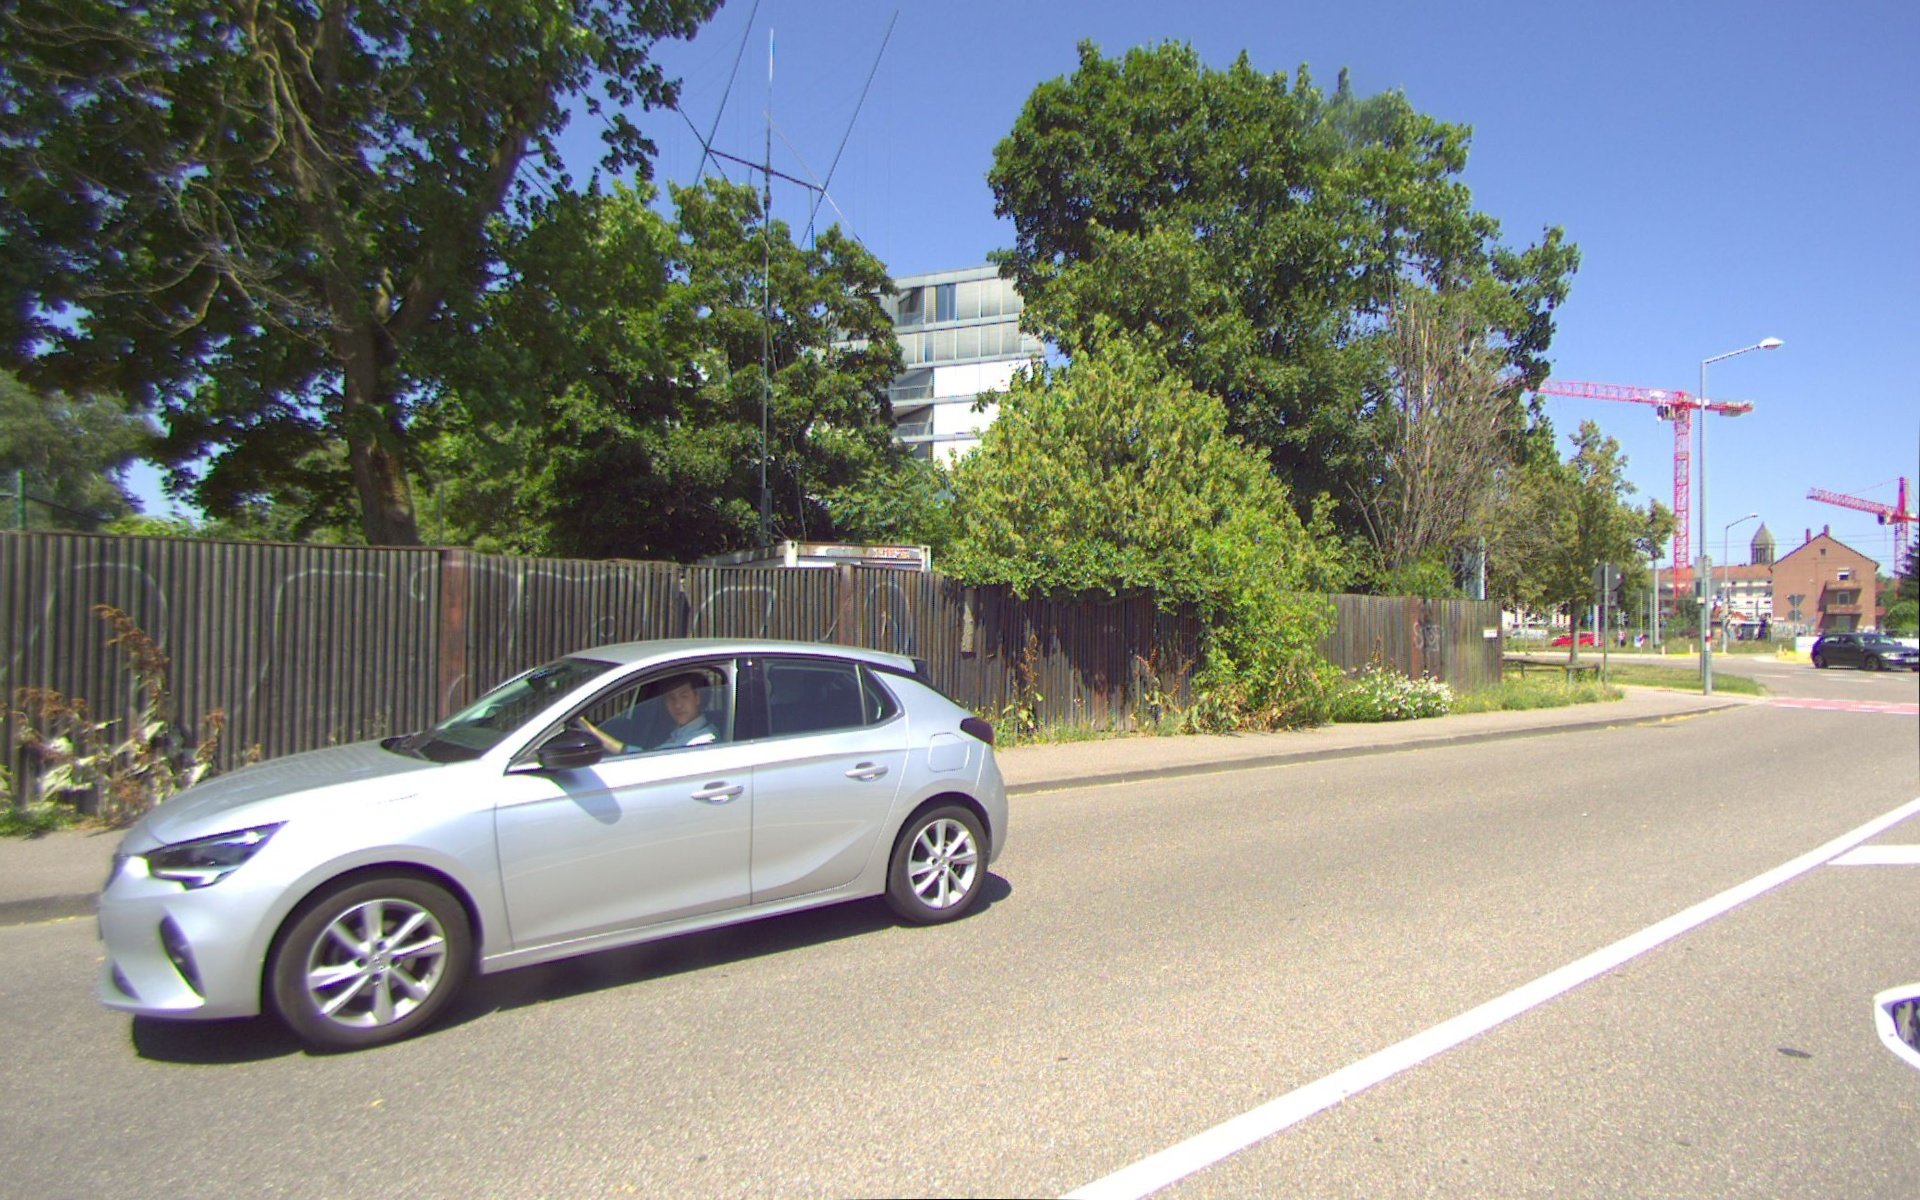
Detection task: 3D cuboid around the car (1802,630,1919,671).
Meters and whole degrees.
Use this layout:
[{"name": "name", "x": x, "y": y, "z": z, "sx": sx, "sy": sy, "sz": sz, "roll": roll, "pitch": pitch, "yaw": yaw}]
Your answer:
[{"name": "car", "x": 34.366, "y": 1.893, "z": 38.203, "sx": 1.717, "sy": 1.421, "sz": 4.083, "roll": -1, "pitch": -1, "yaw": 9}]

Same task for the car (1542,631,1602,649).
[{"name": "car", "x": 49.607, "y": 3.237, "z": 81.450, "sx": 4.016, "sy": 1.421, "sz": 1.746, "roll": -1, "pitch": -1, "yaw": 38}]

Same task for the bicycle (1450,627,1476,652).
[{"name": "bicycle", "x": 36.291, "y": 2.852, "z": 72.486, "sx": 2.059, "sy": 1.707, "sz": 0.556, "roll": 2, "pitch": 0, "yaw": -27}]

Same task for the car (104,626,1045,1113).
[{"name": "car", "x": -1.576, "y": 0.888, "z": 4.911, "sx": 3.806, "sy": 1.483, "sz": 1.702, "roll": 1, "pitch": -3, "yaw": -36}]

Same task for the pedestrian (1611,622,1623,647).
[{"name": "pedestrian", "x": 54.130, "y": 2.863, "z": 82.787, "sx": 0.588, "sy": 2.040, "sz": 0.598, "roll": 2, "pitch": 0, "yaw": -30}]
